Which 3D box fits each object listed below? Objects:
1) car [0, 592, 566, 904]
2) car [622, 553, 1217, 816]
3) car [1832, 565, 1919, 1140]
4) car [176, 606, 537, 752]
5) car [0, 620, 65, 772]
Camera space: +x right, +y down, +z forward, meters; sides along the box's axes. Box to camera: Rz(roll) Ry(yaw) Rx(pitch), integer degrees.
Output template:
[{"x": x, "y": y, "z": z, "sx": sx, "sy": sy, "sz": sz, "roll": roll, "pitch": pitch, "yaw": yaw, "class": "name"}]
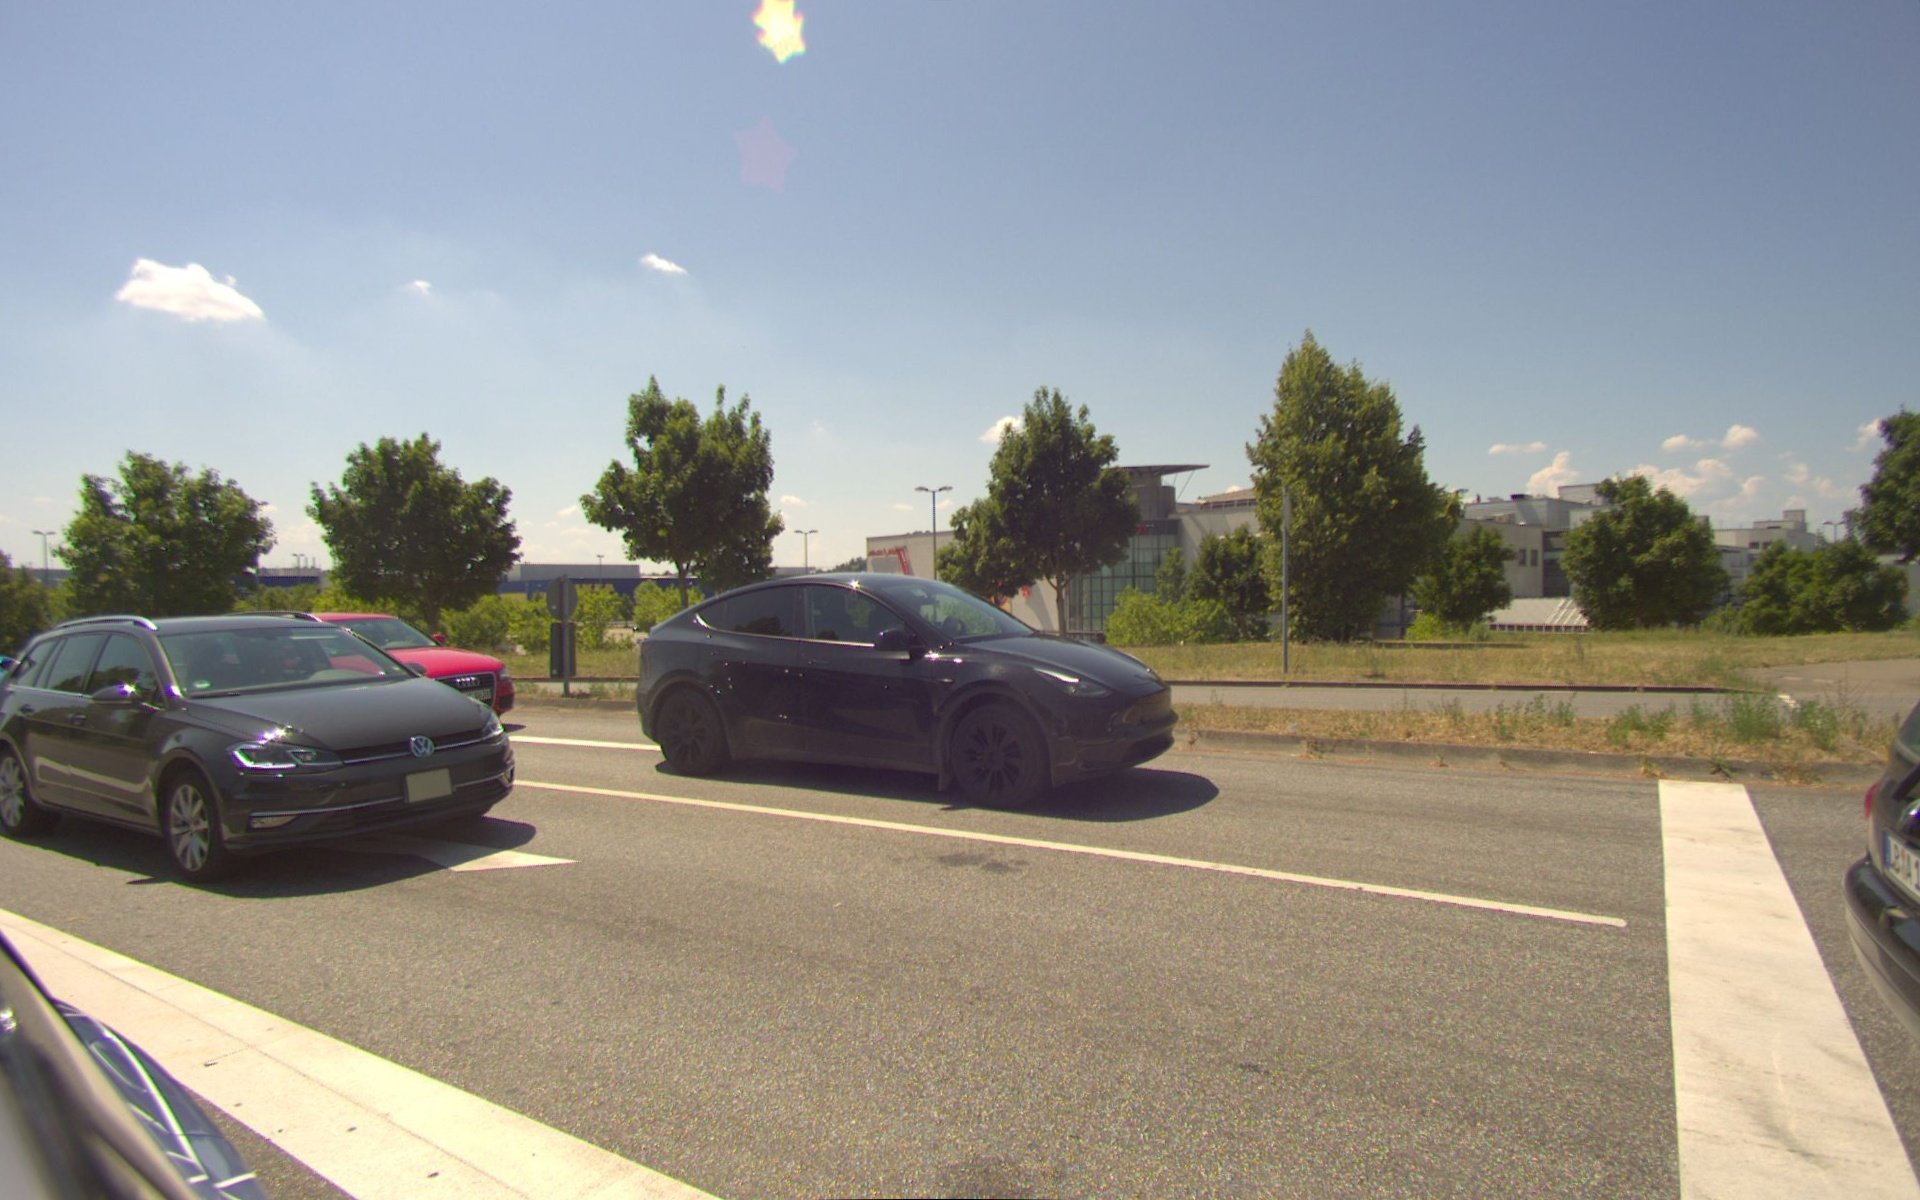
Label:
[{"x": -4.868, "y": 0.770, "z": 6.796, "sx": 4.411, "sy": 1.493, "sz": 1.766, "roll": -2, "pitch": 0, "yaw": 30, "class": "car"}, {"x": -0.422, "y": 0.548, "z": 8.156, "sx": 4.488, "sy": 1.613, "sz": 1.862, "roll": -1, "pitch": 0, "yaw": 30, "class": "car"}, {"x": 3.813, "y": 0.634, "z": 1.704, "sx": 3.288, "sy": 1.418, "sz": 1.608, "roll": 0, "pitch": 1, "yaw": 31, "class": "car"}, {"x": -7.183, "y": 0.837, "z": 11.942, "sx": 4.431, "sy": 1.398, "sz": 1.650, "roll": -1, "pitch": 1, "yaw": 29, "class": "car"}, {"x": -11.587, "y": 1.055, "z": 10.579, "sx": 4.464, "sy": 1.473, "sz": 1.699, "roll": -3, "pitch": 0, "yaw": 25, "class": "car"}]
